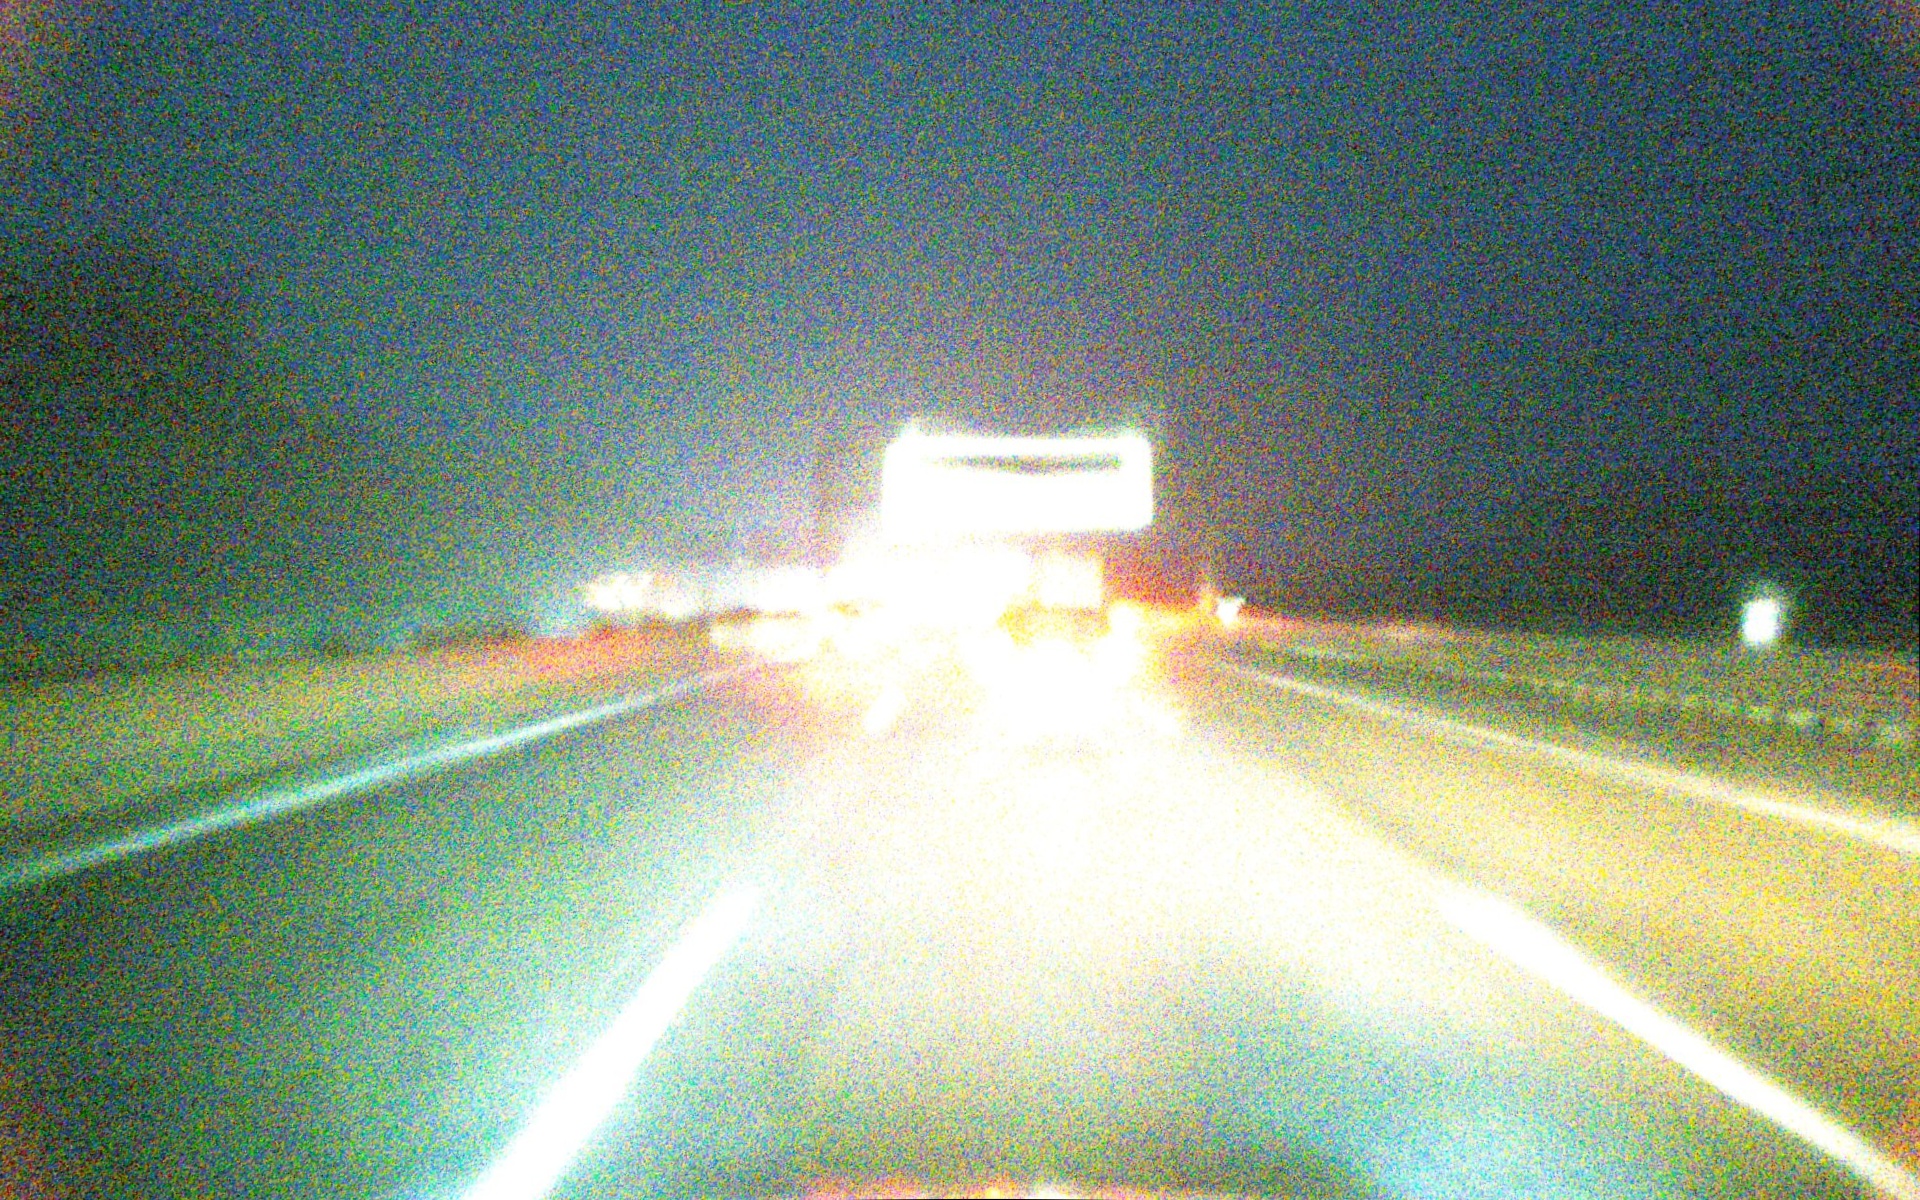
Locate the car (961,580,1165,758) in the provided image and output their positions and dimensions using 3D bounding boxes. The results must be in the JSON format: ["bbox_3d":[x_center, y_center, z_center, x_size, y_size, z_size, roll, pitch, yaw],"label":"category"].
[{"bbox_3d":[0.978,0.663,17.841,1.877,1.622,4.233,-2,0,0],"label":"car"}]

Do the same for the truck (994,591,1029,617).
[{"bbox_3d":[6.365,0.477,207.387,3.757,3.108,11.002,1,0,-1],"label":"truck"}]

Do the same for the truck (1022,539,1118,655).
[{"bbox_3d":[5.757,-0.132,89.435,4.082,5.641,13.072,-2,0,0],"label":"truck"}]

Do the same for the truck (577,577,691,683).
[{"bbox_3d":[-18.691,1.636,95.868,3.763,5.641,12.212,1,0,1],"label":"truck"}]

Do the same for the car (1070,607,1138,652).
[{"bbox_3d":[4.860,0.981,56.330,1.851,1.378,3.999,2,0,-1],"label":"car"}]

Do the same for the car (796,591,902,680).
[{"bbox_3d":[-2.427,0.757,37.297,1.953,1.808,4.887,-2,0,0],"label":"car"}]
